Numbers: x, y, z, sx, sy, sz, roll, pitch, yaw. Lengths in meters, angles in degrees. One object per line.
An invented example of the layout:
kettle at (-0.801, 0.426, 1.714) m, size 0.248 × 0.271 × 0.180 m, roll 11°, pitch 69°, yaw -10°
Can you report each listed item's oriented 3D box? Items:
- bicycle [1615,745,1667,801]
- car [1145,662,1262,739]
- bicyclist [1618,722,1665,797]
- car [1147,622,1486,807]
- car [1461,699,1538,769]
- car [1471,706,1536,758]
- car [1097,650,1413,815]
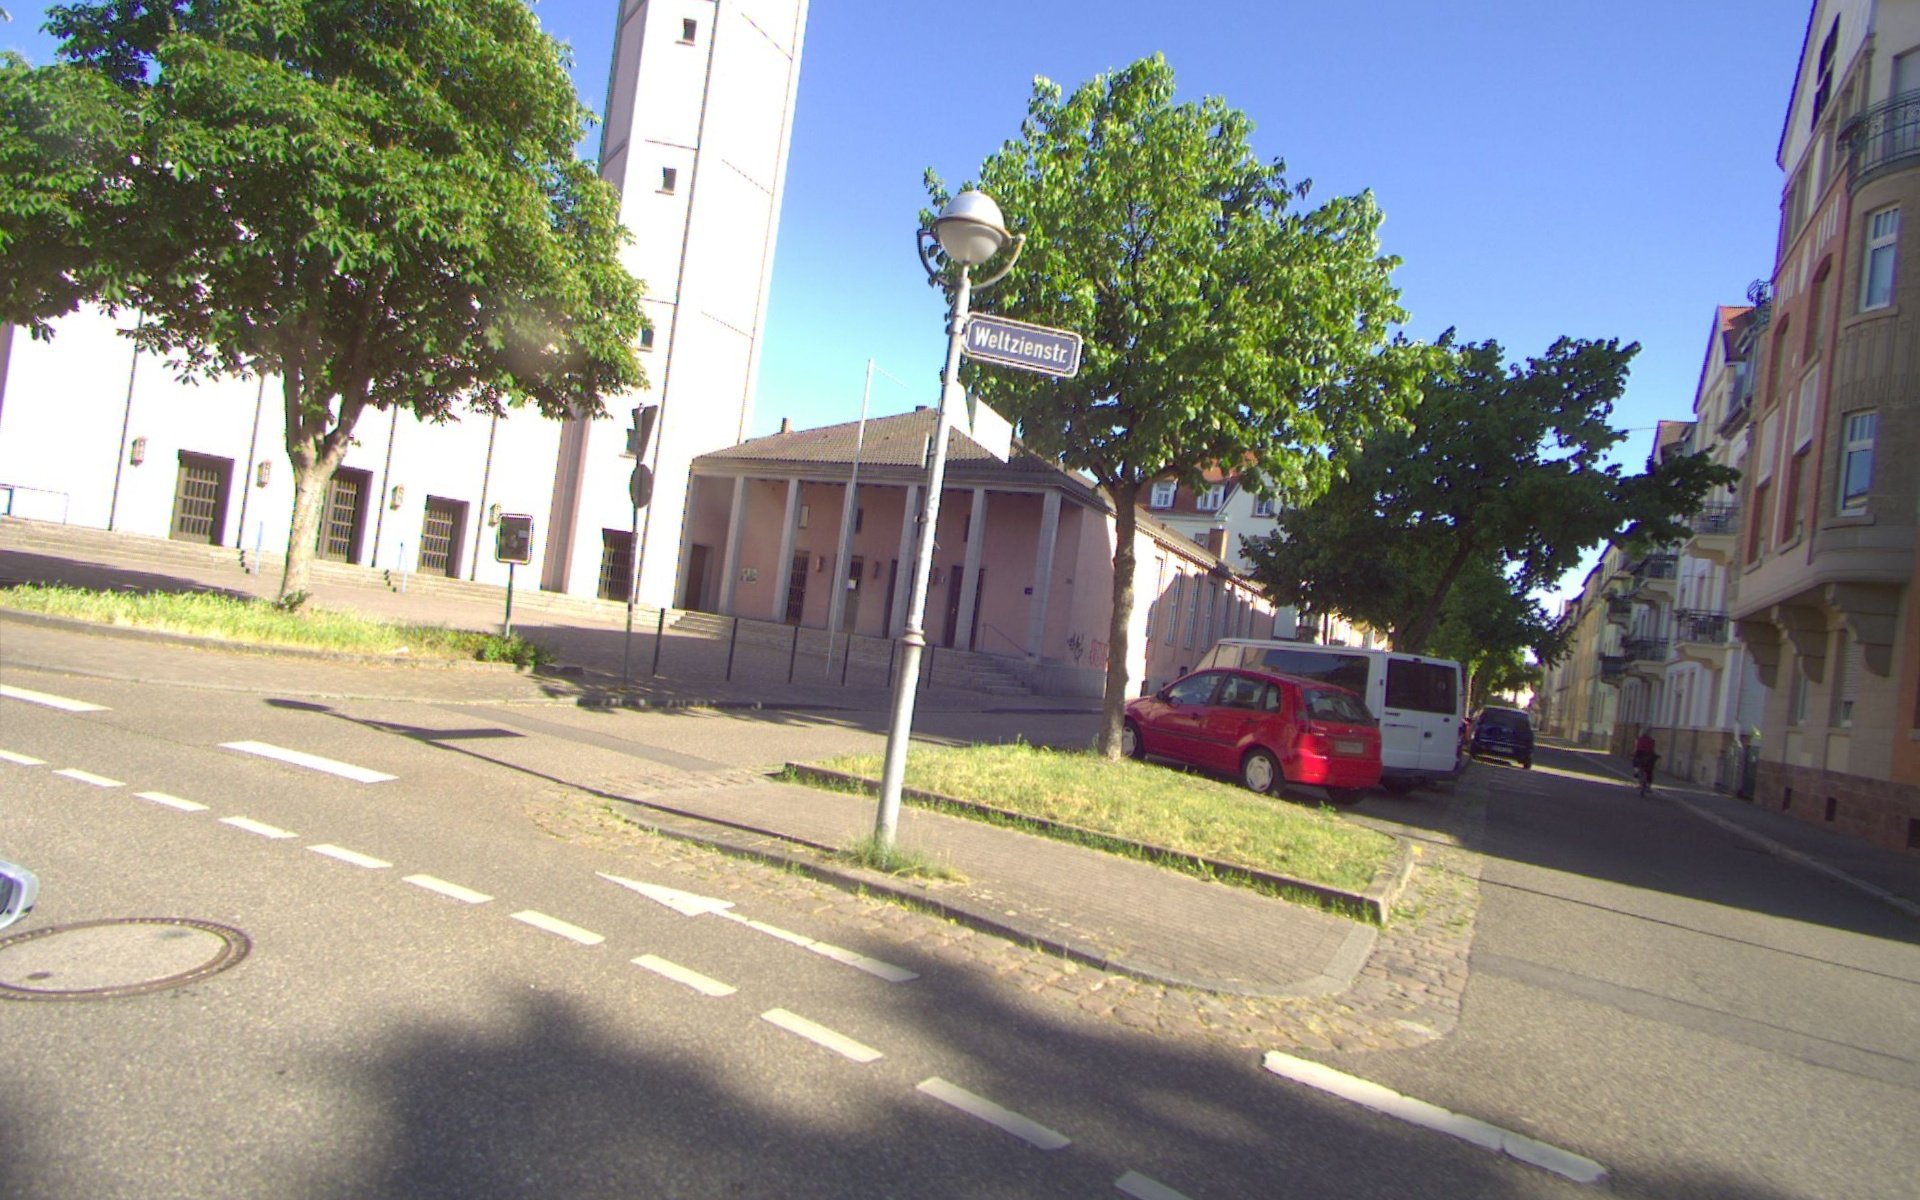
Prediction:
bicycle at (16.492, 4.174, 24.397) m, size 0.686 × 1.120 × 1.873 m, roll 7°, pitch -2°, yaw 26°
car at (5.789, 2.375, 23.650) m, size 1.587 × 1.438 × 3.611 m, roll 7°, pitch -2°, yaw 30°
bicyclist at (16.540, 3.858, 24.421) m, size 0.686 × 1.680 × 0.650 m, roll 7°, pitch -1°, yaw 27°
car at (5.225, 1.615, 15.518) m, size 1.971 × 2.069 × 4.676 m, roll 8°, pitch -2°, yaw -26°
car at (16.106, 3.956, 29.946) m, size 1.732 × 1.676 × 3.951 m, roll 7°, pitch -2°, yaw 31°
car at (19.188, 4.620, 35.447) m, size 1.732 × 1.472 × 3.951 m, roll 7°, pitch -2°, yaw 31°
car at (3.609, 1.605, 12.941) m, size 1.651 × 1.451 × 3.669 m, roll 9°, pitch -2°, yaw -29°
